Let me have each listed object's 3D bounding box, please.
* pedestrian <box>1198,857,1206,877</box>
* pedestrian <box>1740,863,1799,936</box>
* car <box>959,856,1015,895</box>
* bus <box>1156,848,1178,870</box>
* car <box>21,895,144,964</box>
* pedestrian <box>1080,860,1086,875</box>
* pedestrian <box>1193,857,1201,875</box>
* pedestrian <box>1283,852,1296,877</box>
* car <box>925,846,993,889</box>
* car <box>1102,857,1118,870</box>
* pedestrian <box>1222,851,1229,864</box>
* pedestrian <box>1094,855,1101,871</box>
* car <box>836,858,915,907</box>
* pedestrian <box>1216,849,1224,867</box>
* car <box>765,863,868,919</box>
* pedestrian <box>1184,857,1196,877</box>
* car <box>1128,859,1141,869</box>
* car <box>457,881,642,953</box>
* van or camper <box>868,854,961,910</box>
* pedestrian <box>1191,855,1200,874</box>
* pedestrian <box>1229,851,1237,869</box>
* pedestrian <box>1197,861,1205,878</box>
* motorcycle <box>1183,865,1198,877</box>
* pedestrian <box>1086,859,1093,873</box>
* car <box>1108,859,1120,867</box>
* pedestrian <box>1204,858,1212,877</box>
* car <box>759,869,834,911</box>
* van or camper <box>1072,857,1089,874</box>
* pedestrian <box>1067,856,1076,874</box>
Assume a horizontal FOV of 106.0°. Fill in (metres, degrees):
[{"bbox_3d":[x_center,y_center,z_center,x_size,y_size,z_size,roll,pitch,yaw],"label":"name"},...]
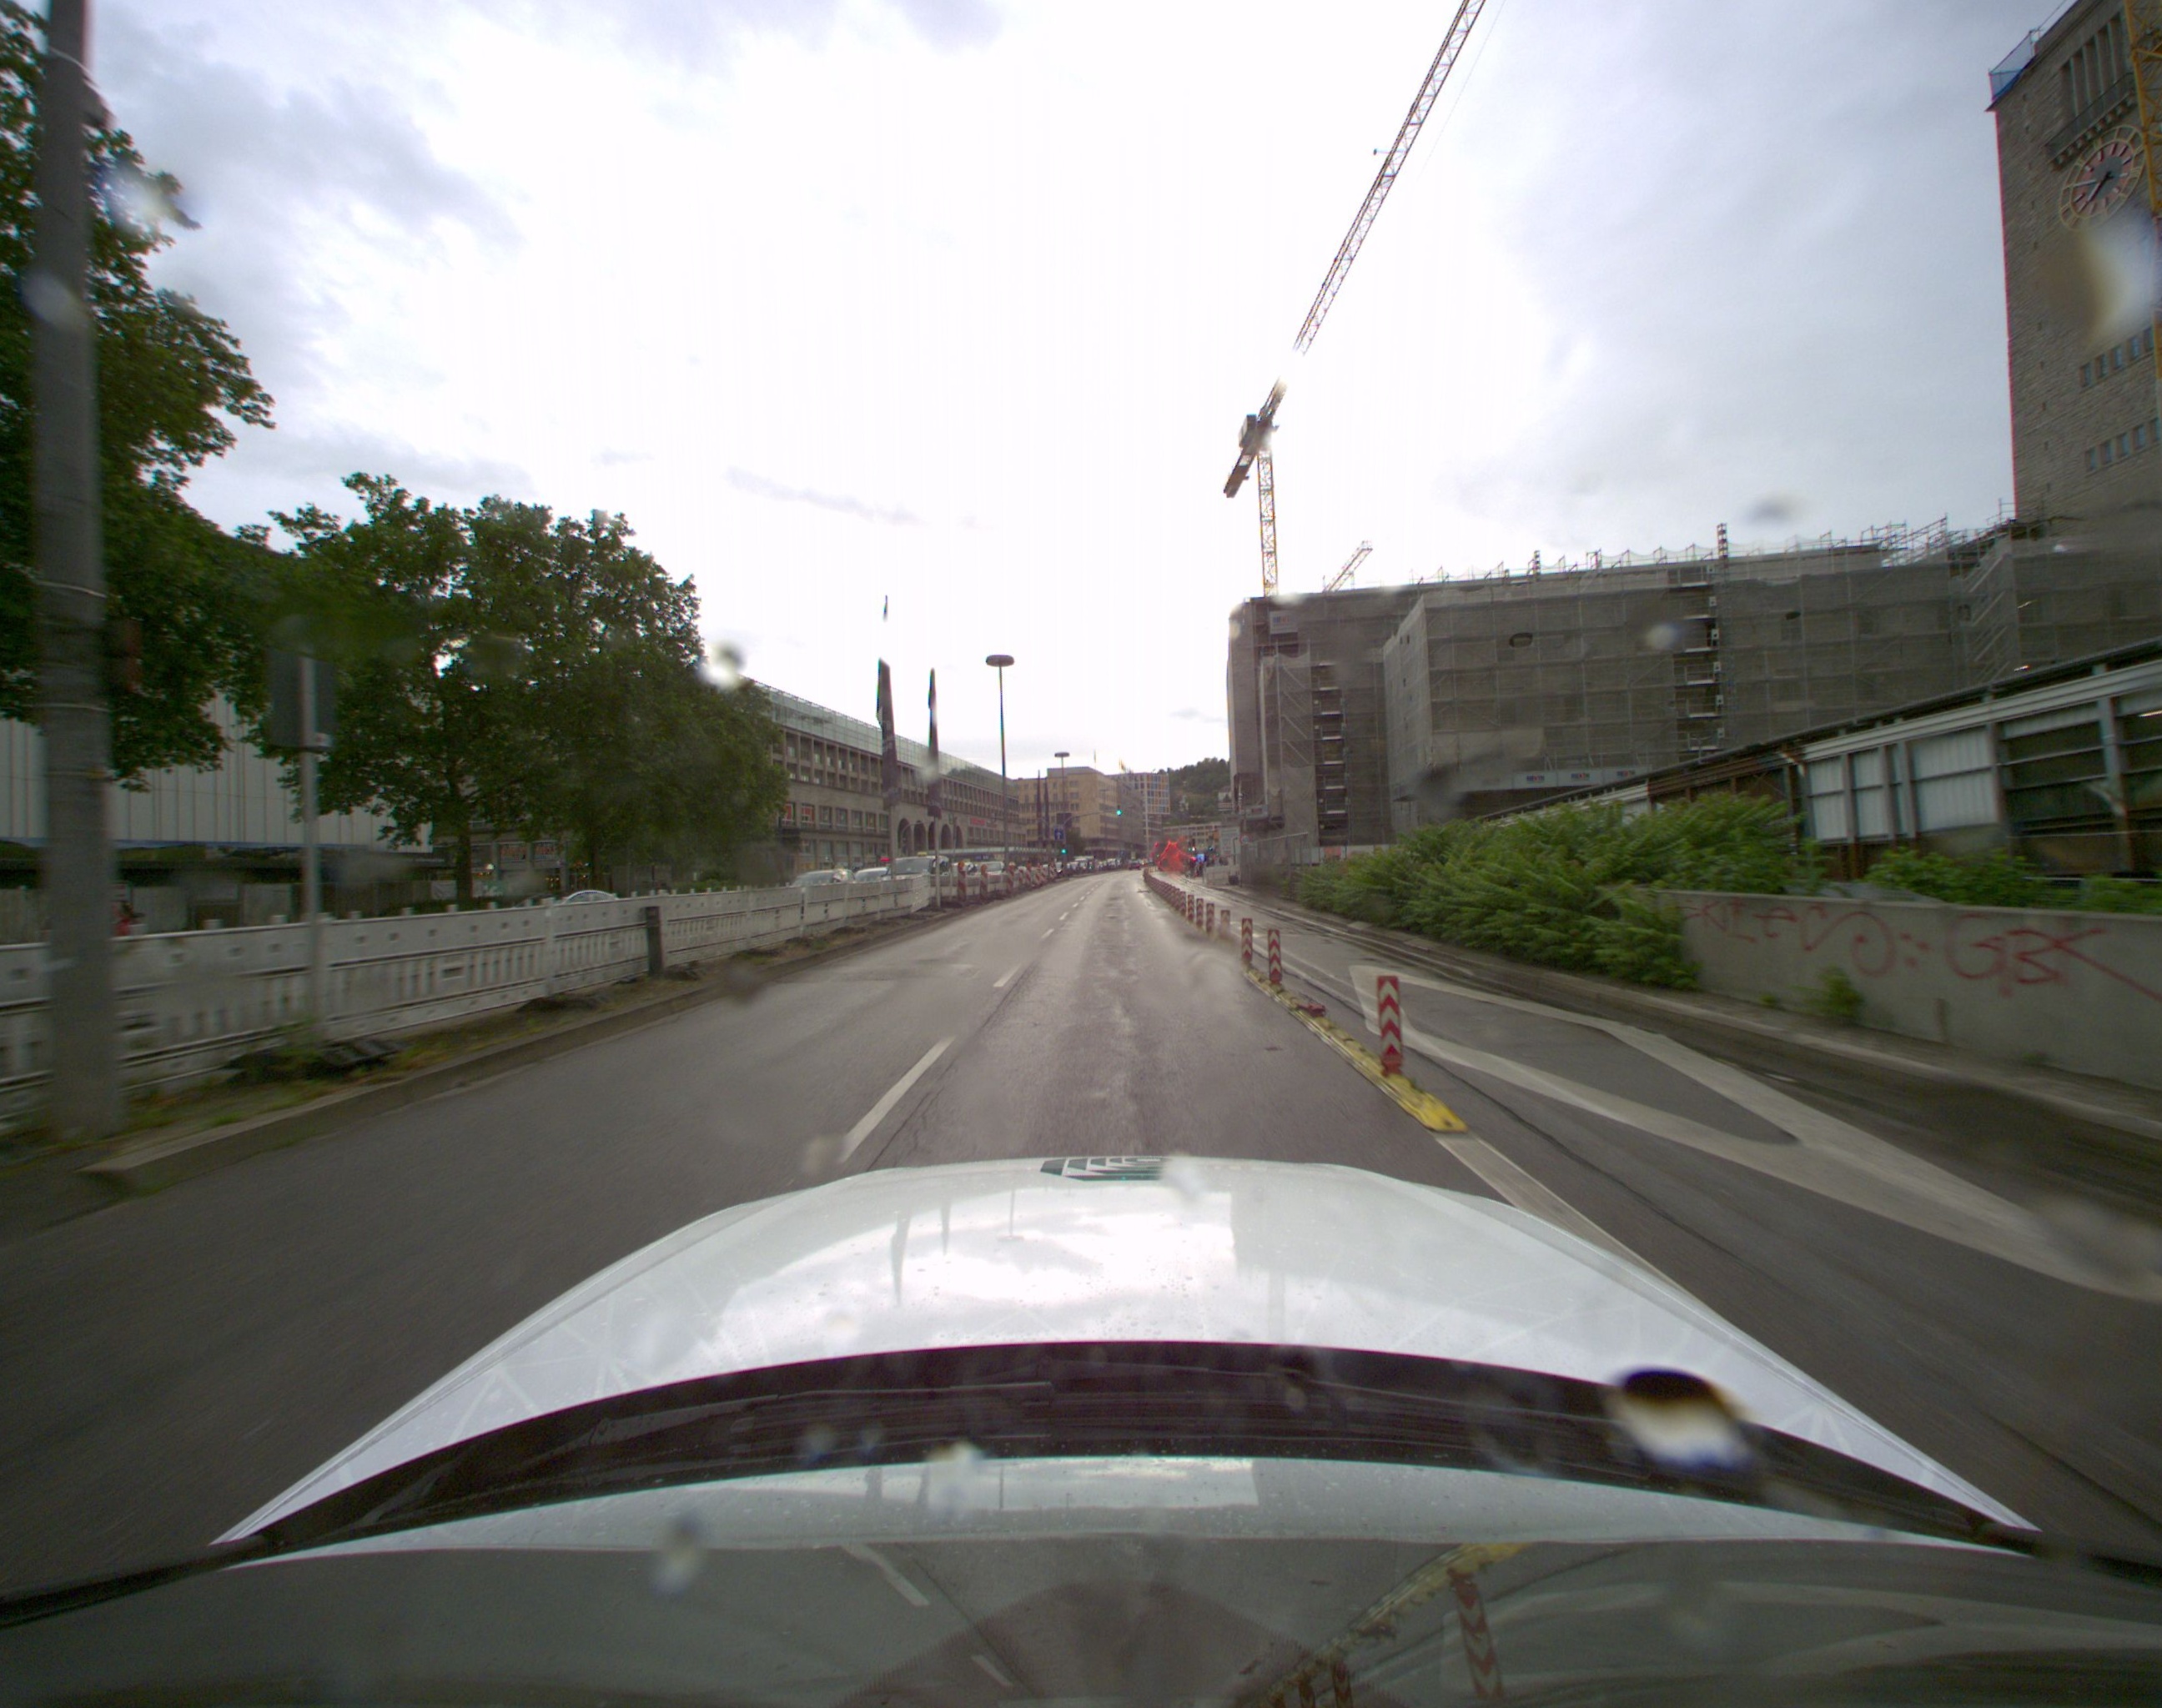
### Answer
[{"bbox_3d":[10.960,1.160,73.891,0.554,1.751,0.713,-5,0,9],"label":"pedestrian"},{"bbox_3d":[18.113,1.179,21.437,0.669,1.832,1.015,-2,0,2],"label":"pedestrian"},{"bbox_3d":[-5.201,1.168,45.755,1.983,1.817,4.819,-3,1,6],"label":"car"},{"bbox_3d":[13.168,0.684,123.984,2.739,3.068,9.103,-1,0,9],"label":"bus"},{"bbox_3d":[-29.347,2.146,24.057,3.698,1.542,1.863,1,3,45],"label":"car"},{"bbox_3d":[0.206,1.532,92.936,0.648,1.711,0.594,-1,1,6],"label":"pedestrian"},{"bbox_3d":[10.757,1.128,75.745,0.554,1.640,0.754,-5,0,9],"label":"pedestrian"},{"bbox_3d":[15.504,0.794,60.669,0.669,1.832,1.015,-2,0,2],"label":"pedestrian"},{"bbox_3d":[-5.825,0.588,39.501,1.983,1.770,4.819,-3,1,6],"label":"car"},{"bbox_3d":[5.102,1.643,143.599,1.981,2.178,5.560,-3,1,10],"label":"car"},{"bbox_3d":[17.804,0.455,100.497,0.647,1.539,0.667,-5,0,9],"label":"pedestrian"},{"bbox_3d":[2.061,1.130,103.510,0.719,2.007,0.774,-1,1,8],"label":"pedestrian"},{"bbox_3d":[-9.002,1.189,36.109,1.905,1.851,4.573,3,1,5],"label":"car"},{"bbox_3d":[14.858,0.432,87.037,0.719,1.847,0.812,-5,0,8],"label":"pedestrian"},{"bbox_3d":[-9.335,1.259,29.166,1.881,1.702,4.309,-1,1,6],"label":"car"},{"bbox_3d":[9.641,1.147,72.103,0.584,1.740,0.813,-3,0,-35],"label":"pedestrian"},{"bbox_3d":[8.912,1.661,136.214,1.985,1.552,4.004,-3,0,3],"label":"car"},{"bbox_3d":[-15.644,1.780,24.367,1.983,1.631,4.827,-1,1,6],"label":"car"},{"bbox_3d":[-6.137,0.971,30.709,1.936,1.819,5.399,-1,1,5],"label":"van or camper"},{"bbox_3d":[10.799,1.015,76.894,0.557,1.759,0.751,-5,0,-5],"label":"pedestrian"},{"bbox_3d":[14.060,0.543,75.519,0.546,1.632,0.998,-5,0,8],"label":"pedestrian"},{"bbox_3d":[10.802,1.364,73.059,0.554,1.449,0.713,-5,0,9],"label":"pedestrian"},{"bbox_3d":[9.666,1.530,72.093,0.589,1.021,1.226,-3,1,-34],"label":"motorcycle"},{"bbox_3d":[1.032,1.489,103.458,0.694,1.754,0.713,-2,0,8],"label":"pedestrian"},{"bbox_3d":[6.585,1.757,161.799,1.983,1.552,4.007,-3,0,6],"label":"car"},{"bbox_3d":[11.063,1.178,71.007,0.555,1.650,0.616,-5,0,9],"label":"pedestrian"},{"bbox_3d":[-13.797,1.711,39.745,1.882,1.702,4.306,-1,1,4],"label":"car"},{"bbox_3d":[-0.027,1.936,136.388,1.983,2.514,5.381,-5,0,7],"label":"van or camper"},{"bbox_3d":[-0.981,1.092,83.983,0.780,1.775,0.606,-5,0,-4],"label":"pedestrian"}]
